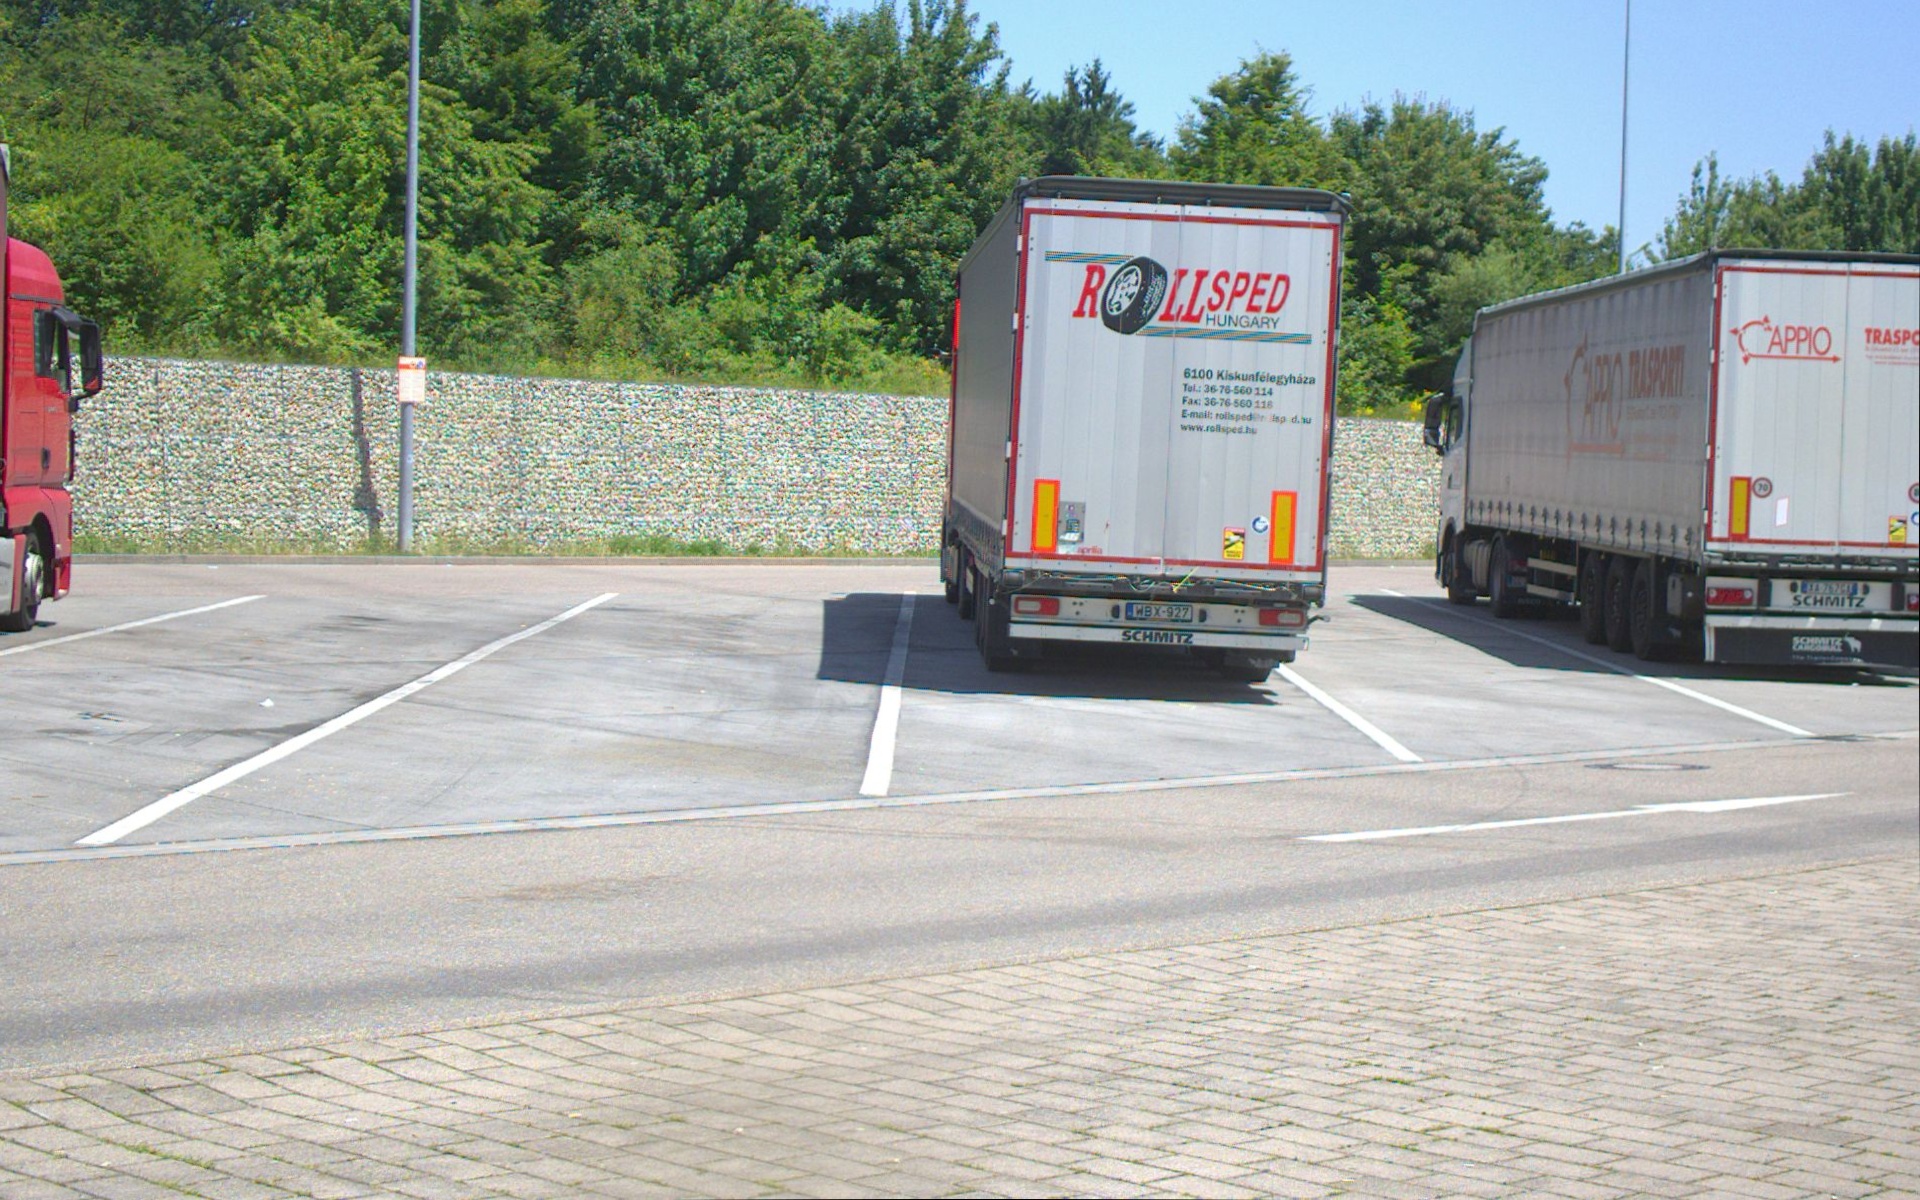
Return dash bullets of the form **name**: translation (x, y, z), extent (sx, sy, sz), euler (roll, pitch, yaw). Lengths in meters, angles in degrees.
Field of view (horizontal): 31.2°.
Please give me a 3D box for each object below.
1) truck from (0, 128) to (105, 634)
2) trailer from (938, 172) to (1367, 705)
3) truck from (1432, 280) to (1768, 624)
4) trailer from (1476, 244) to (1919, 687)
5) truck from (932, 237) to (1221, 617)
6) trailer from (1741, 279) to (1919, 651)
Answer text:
- **truck**: translation (-9.148, -1.817, 28.003), extent (2.696, 4.099, 6.240), euler (2, 3, 0)
- **trailer**: translation (1.439, -1.641, 33.642), extent (2.866, 4.023, 14.243), euler (2, 3, -2)
- **truck**: translation (8.124, -1.957, 44.607), extent (2.866, 4.023, 6.957), euler (2, 3, 0)
- **trailer**: translation (8.184, -1.573, 37.980), extent (2.866, 4.023, 12.439), euler (2, 3, 0)
- **truck**: translation (1.227, -2.061, 40.721), extent (2.866, 4.023, 7.028), euler (2, 3, -2)
- **trailer**: translation (11.839, -1.533, 39.044), extent (2.866, 4.023, 12.439), euler (2, 3, 0)
